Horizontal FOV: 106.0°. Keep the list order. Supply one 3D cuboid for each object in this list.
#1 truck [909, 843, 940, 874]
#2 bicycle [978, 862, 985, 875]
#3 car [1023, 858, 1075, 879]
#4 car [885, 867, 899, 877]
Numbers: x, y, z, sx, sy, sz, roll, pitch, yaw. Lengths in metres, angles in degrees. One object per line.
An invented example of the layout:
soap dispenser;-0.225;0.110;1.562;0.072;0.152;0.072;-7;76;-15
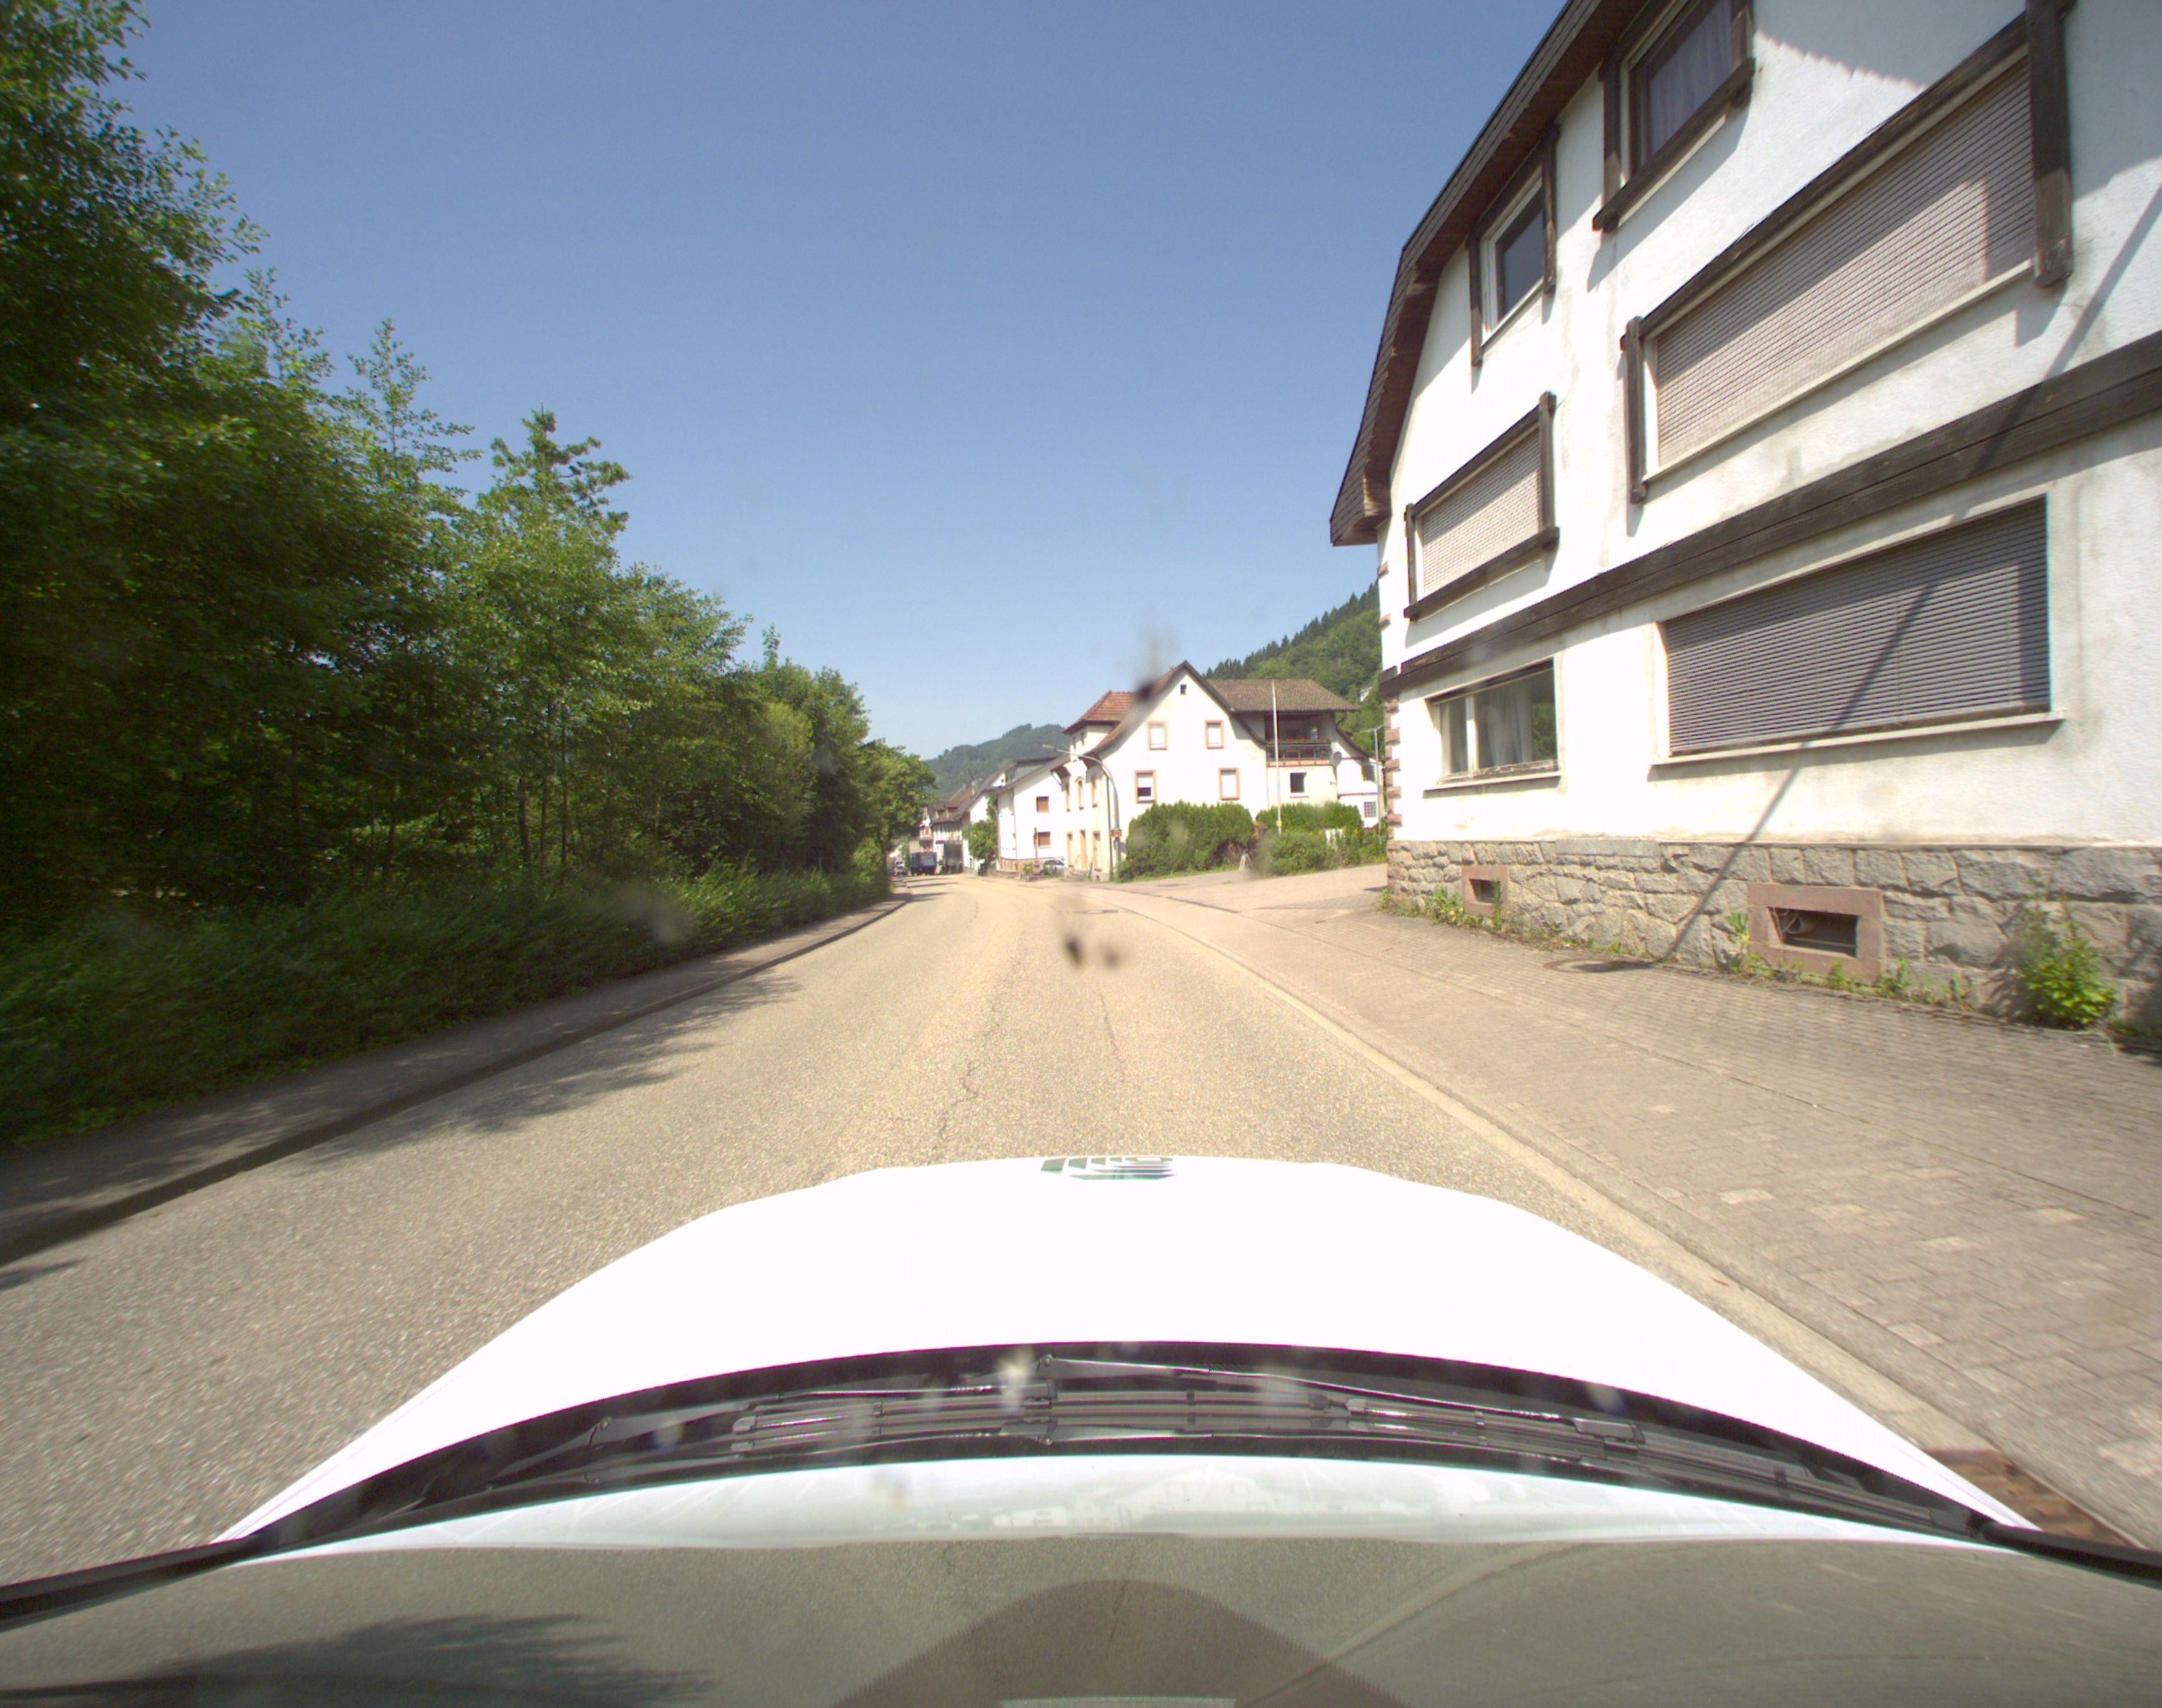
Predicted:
truck;-23.243;0.703;120.832;3.372;3.781;8.391;-6;-1;-17
bicycle;-10.744;1.580;88.134;0.426;1.396;2.267;-6;1;-13
car;-2.520;1.133;63.947;3.727;1.427;1.620;-4;0;32
car;-30.264;2.934;130.326;1.673;1.418;4.057;-5;0;-21
